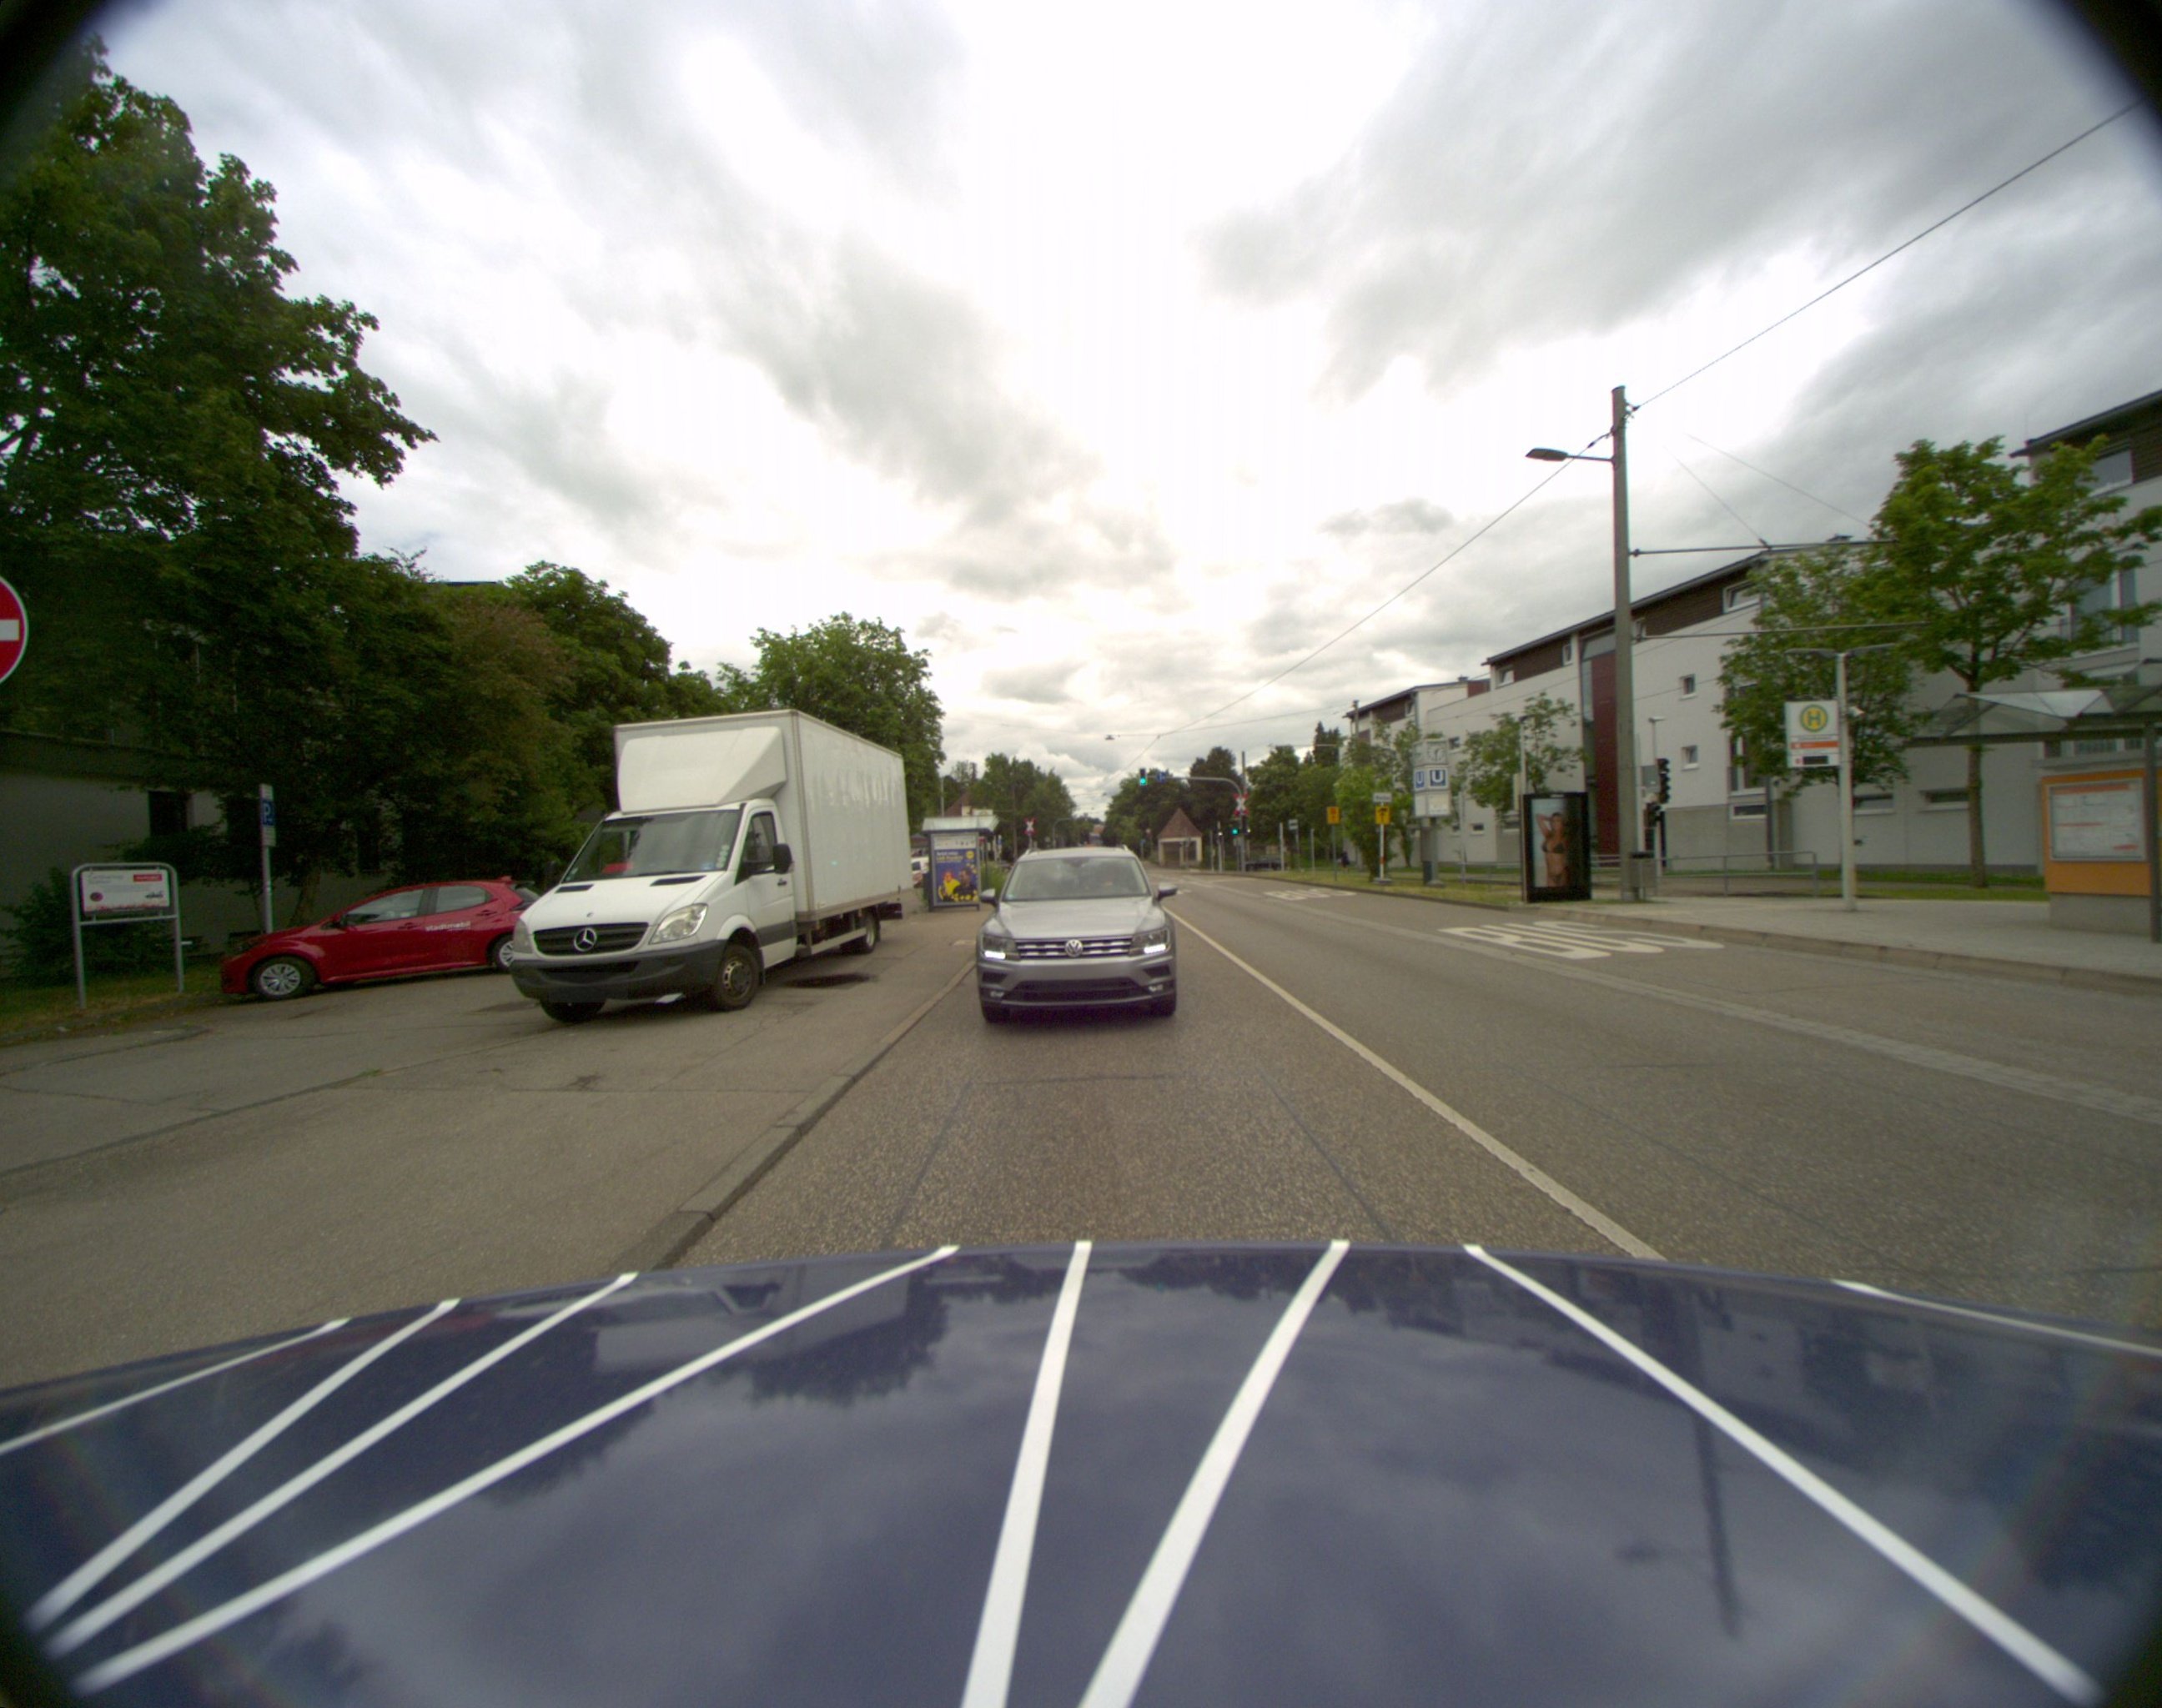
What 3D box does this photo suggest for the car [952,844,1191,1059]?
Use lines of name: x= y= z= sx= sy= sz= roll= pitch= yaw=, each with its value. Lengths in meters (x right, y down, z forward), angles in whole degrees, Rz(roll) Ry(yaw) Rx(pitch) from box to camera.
car: x=-0.195 y=0.768 z=8.433 sx=1.835 sy=1.610 sz=4.486 roll=-4 pitch=1 yaw=-3

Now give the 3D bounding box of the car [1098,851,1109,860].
car: x=4.123 y=0.343 z=140.545 sx=1.744 sy=1.550 sz=4.182 roll=-2 pitch=1 yaw=-1

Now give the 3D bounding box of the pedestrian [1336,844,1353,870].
pedestrian: x=16.523 y=0.190 z=47.599 sx=0.677 sy=1.634 sz=0.819 roll=-1 pitch=-1 yaw=-5

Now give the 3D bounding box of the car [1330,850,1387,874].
car: x=25.462 y=0.722 z=69.812 sx=4.469 sy=2.002 sz=1.999 roll=2 pitch=0 yaw=-6

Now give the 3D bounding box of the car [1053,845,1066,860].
car: x=-3.749 y=-0.272 z=132.418 sx=2.095 sy=2.589 sz=6.679 roll=-2 pitch=1 yaw=-2

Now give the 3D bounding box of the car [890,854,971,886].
car: x=-9.012 y=0.922 z=45.921 sx=1.846 sy=1.738 sz=4.704 roll=-2 pitch=0 yaw=38

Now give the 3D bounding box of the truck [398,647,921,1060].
truck: x=-4.499 y=-0.004 z=10.532 sx=2.579 sy=3.504 sz=7.810 roll=-2 pitch=0 yaw=2

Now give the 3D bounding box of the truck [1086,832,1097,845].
truck: x=3.062 y=-4.463 z=221.475 sx=2.776 sy=3.697 sz=8.466 roll=0 pitch=1 yaw=-1

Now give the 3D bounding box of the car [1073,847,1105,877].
car: x=0.460 y=0.492 z=48.224 sx=1.811 sy=1.736 sz=3.999 roll=-2 pitch=0 yaw=-2

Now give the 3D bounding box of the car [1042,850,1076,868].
car: x=-2.261 y=0.500 z=78.883 sx=1.846 sy=1.740 sz=4.006 roll=-2 pitch=0 yaw=26

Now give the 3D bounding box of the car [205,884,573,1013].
car: x=-10.058 y=1.288 z=11.452 sx=3.734 sy=1.437 sz=1.605 roll=-3 pitch=0 yaw=-26

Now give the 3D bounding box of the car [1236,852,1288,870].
car: x=17.612 y=0.658 z=73.966 sx=4.488 sy=1.660 sz=1.964 roll=1 pitch=0 yaw=-7

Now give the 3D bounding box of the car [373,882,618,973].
car: x=-12.027 y=1.440 z=15.971 sx=3.809 sy=1.465 sz=1.794 roll=-3 pitch=1 yaw=-30

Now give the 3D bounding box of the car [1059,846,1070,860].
car: x=-3.198 y=-0.251 z=150.094 sx=2.046 sy=2.588 sz=5.965 roll=-2 pitch=1 yaw=0
